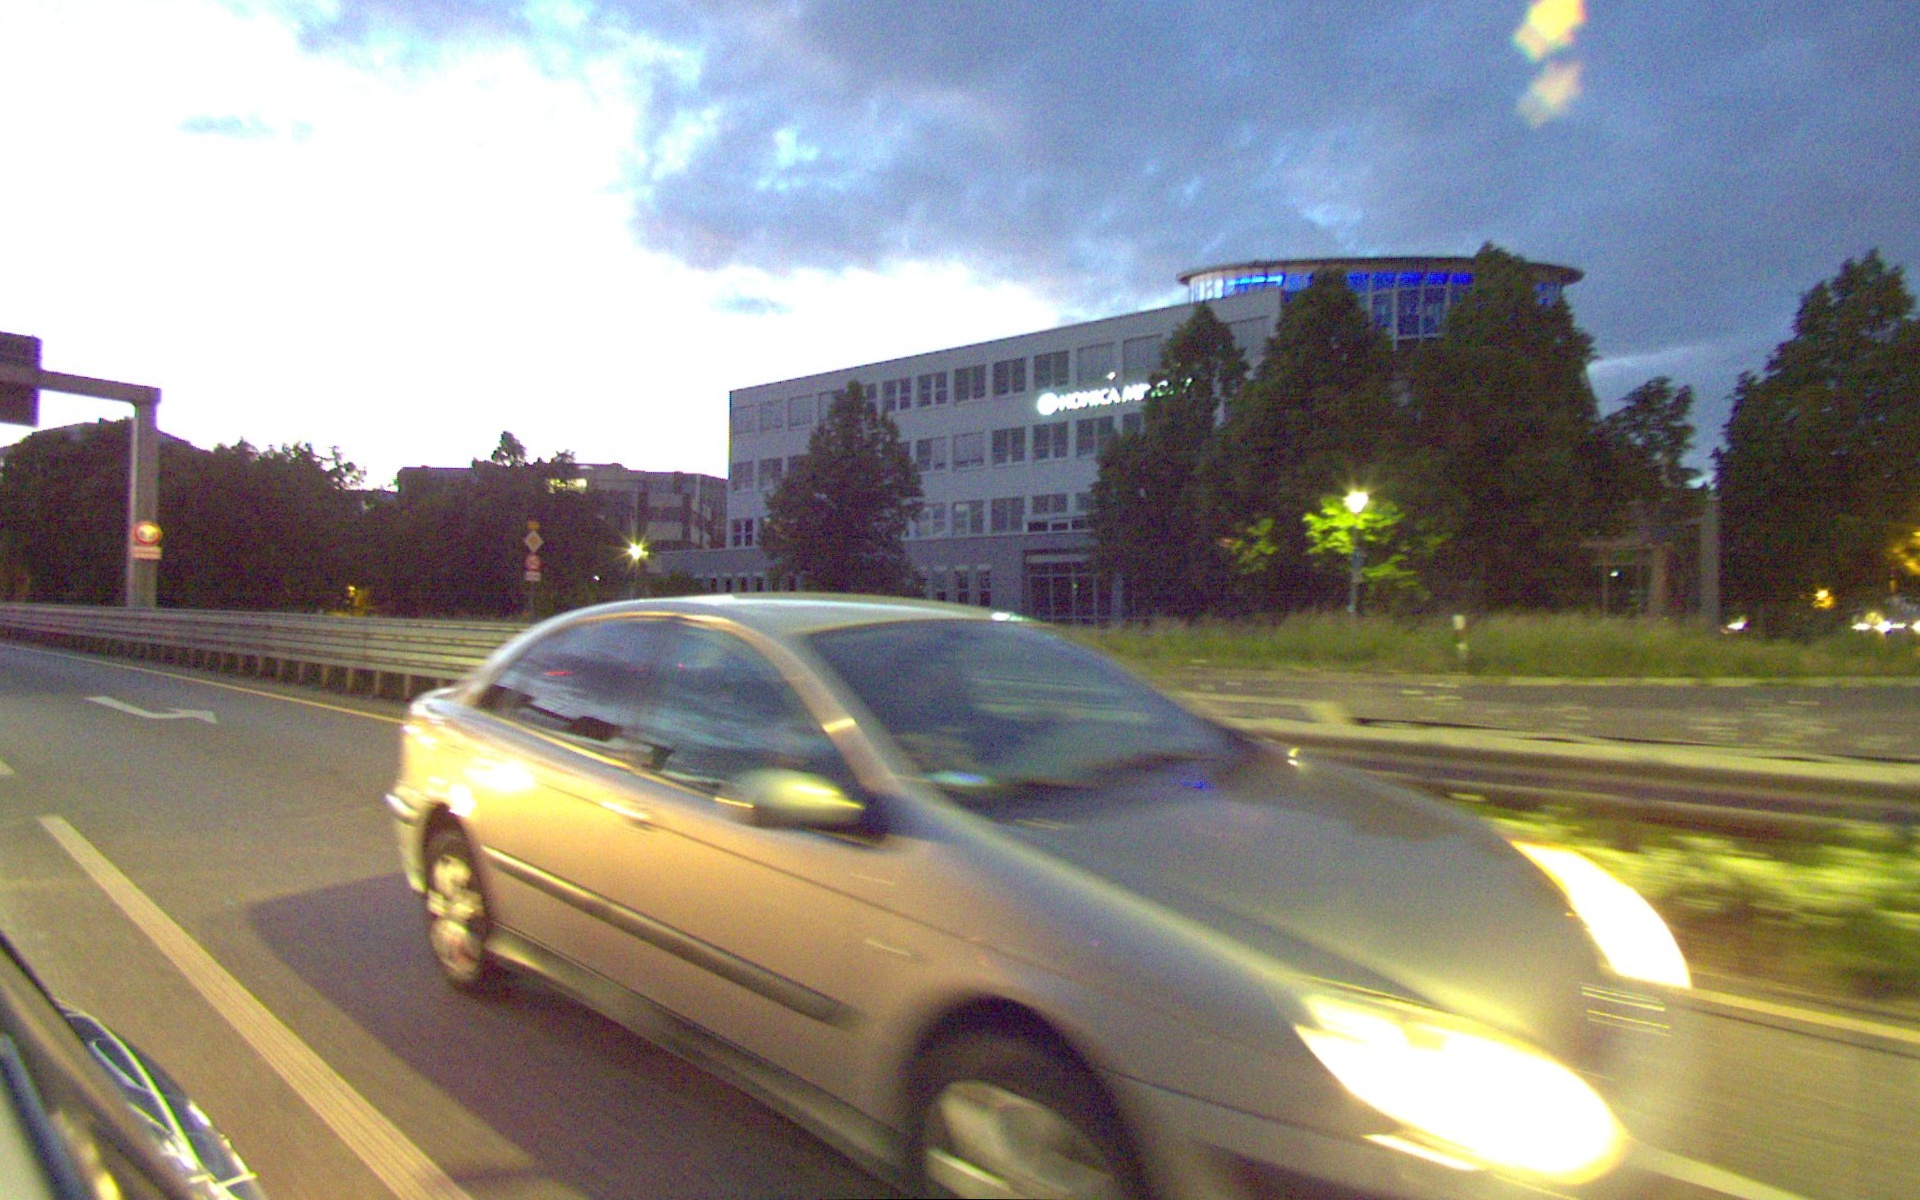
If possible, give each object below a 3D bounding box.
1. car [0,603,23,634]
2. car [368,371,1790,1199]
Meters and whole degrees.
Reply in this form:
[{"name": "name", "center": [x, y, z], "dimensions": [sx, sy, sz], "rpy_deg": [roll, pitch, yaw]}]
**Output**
[{"name": "car", "center": [-46.498, 0.885, 48.772], "dimensions": [4.111, 1.454, 1.738], "rpy_deg": [-1, -1, 44]}, {"name": "car", "center": [-0.214, 0.571, 3.260], "dimensions": [4.409, 1.665, 1.648], "rpy_deg": [0, 0, 42]}]
